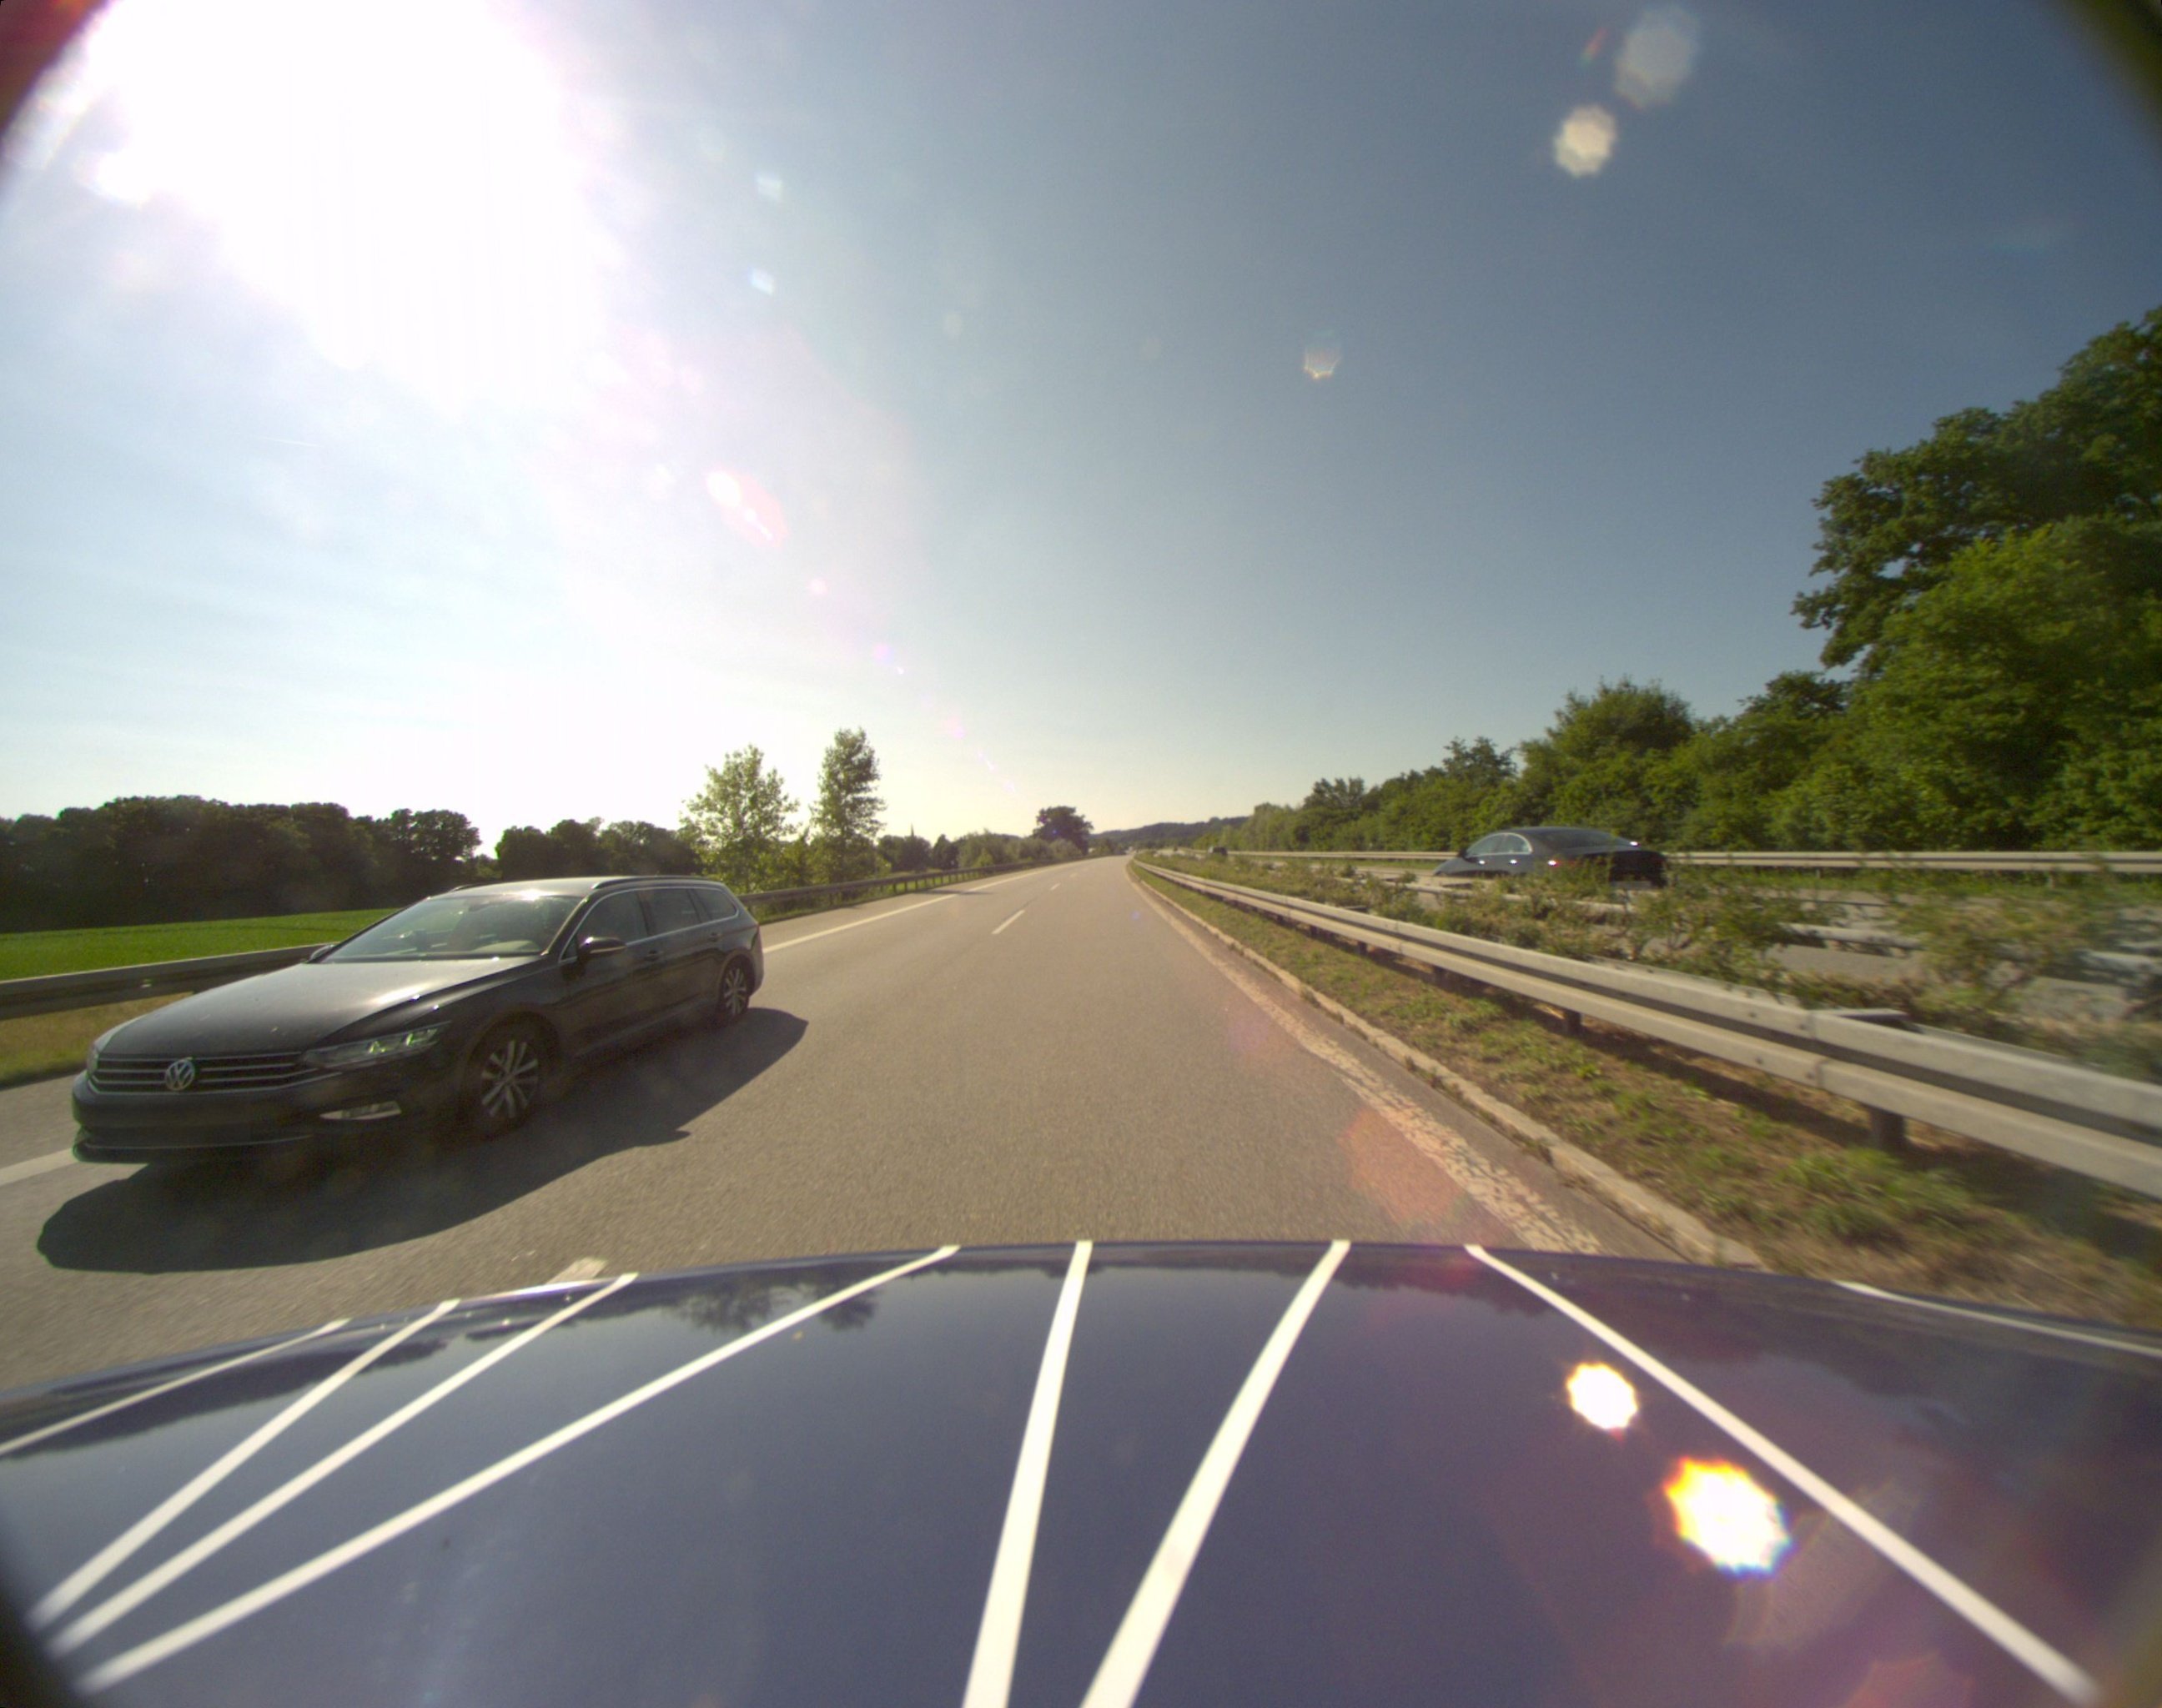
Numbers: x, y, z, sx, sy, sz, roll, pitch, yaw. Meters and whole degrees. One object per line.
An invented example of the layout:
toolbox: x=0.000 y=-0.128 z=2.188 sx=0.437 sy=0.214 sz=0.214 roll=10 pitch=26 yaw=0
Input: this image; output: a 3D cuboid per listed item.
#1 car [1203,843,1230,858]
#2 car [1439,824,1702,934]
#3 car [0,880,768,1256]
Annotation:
car: x=13.767 y=-0.310 z=77.377 sx=1.998 sy=1.424 sz=4.487 roll=-1 pitch=0 yaw=1
car: x=7.355 y=0.312 z=11.934 sx=1.733 sy=1.420 sz=3.881 roll=-1 pitch=1 yaw=2
car: x=-4.100 y=1.017 z=5.524 sx=1.723 sy=1.392 sz=4.413 roll=-2 pitch=1 yaw=1
